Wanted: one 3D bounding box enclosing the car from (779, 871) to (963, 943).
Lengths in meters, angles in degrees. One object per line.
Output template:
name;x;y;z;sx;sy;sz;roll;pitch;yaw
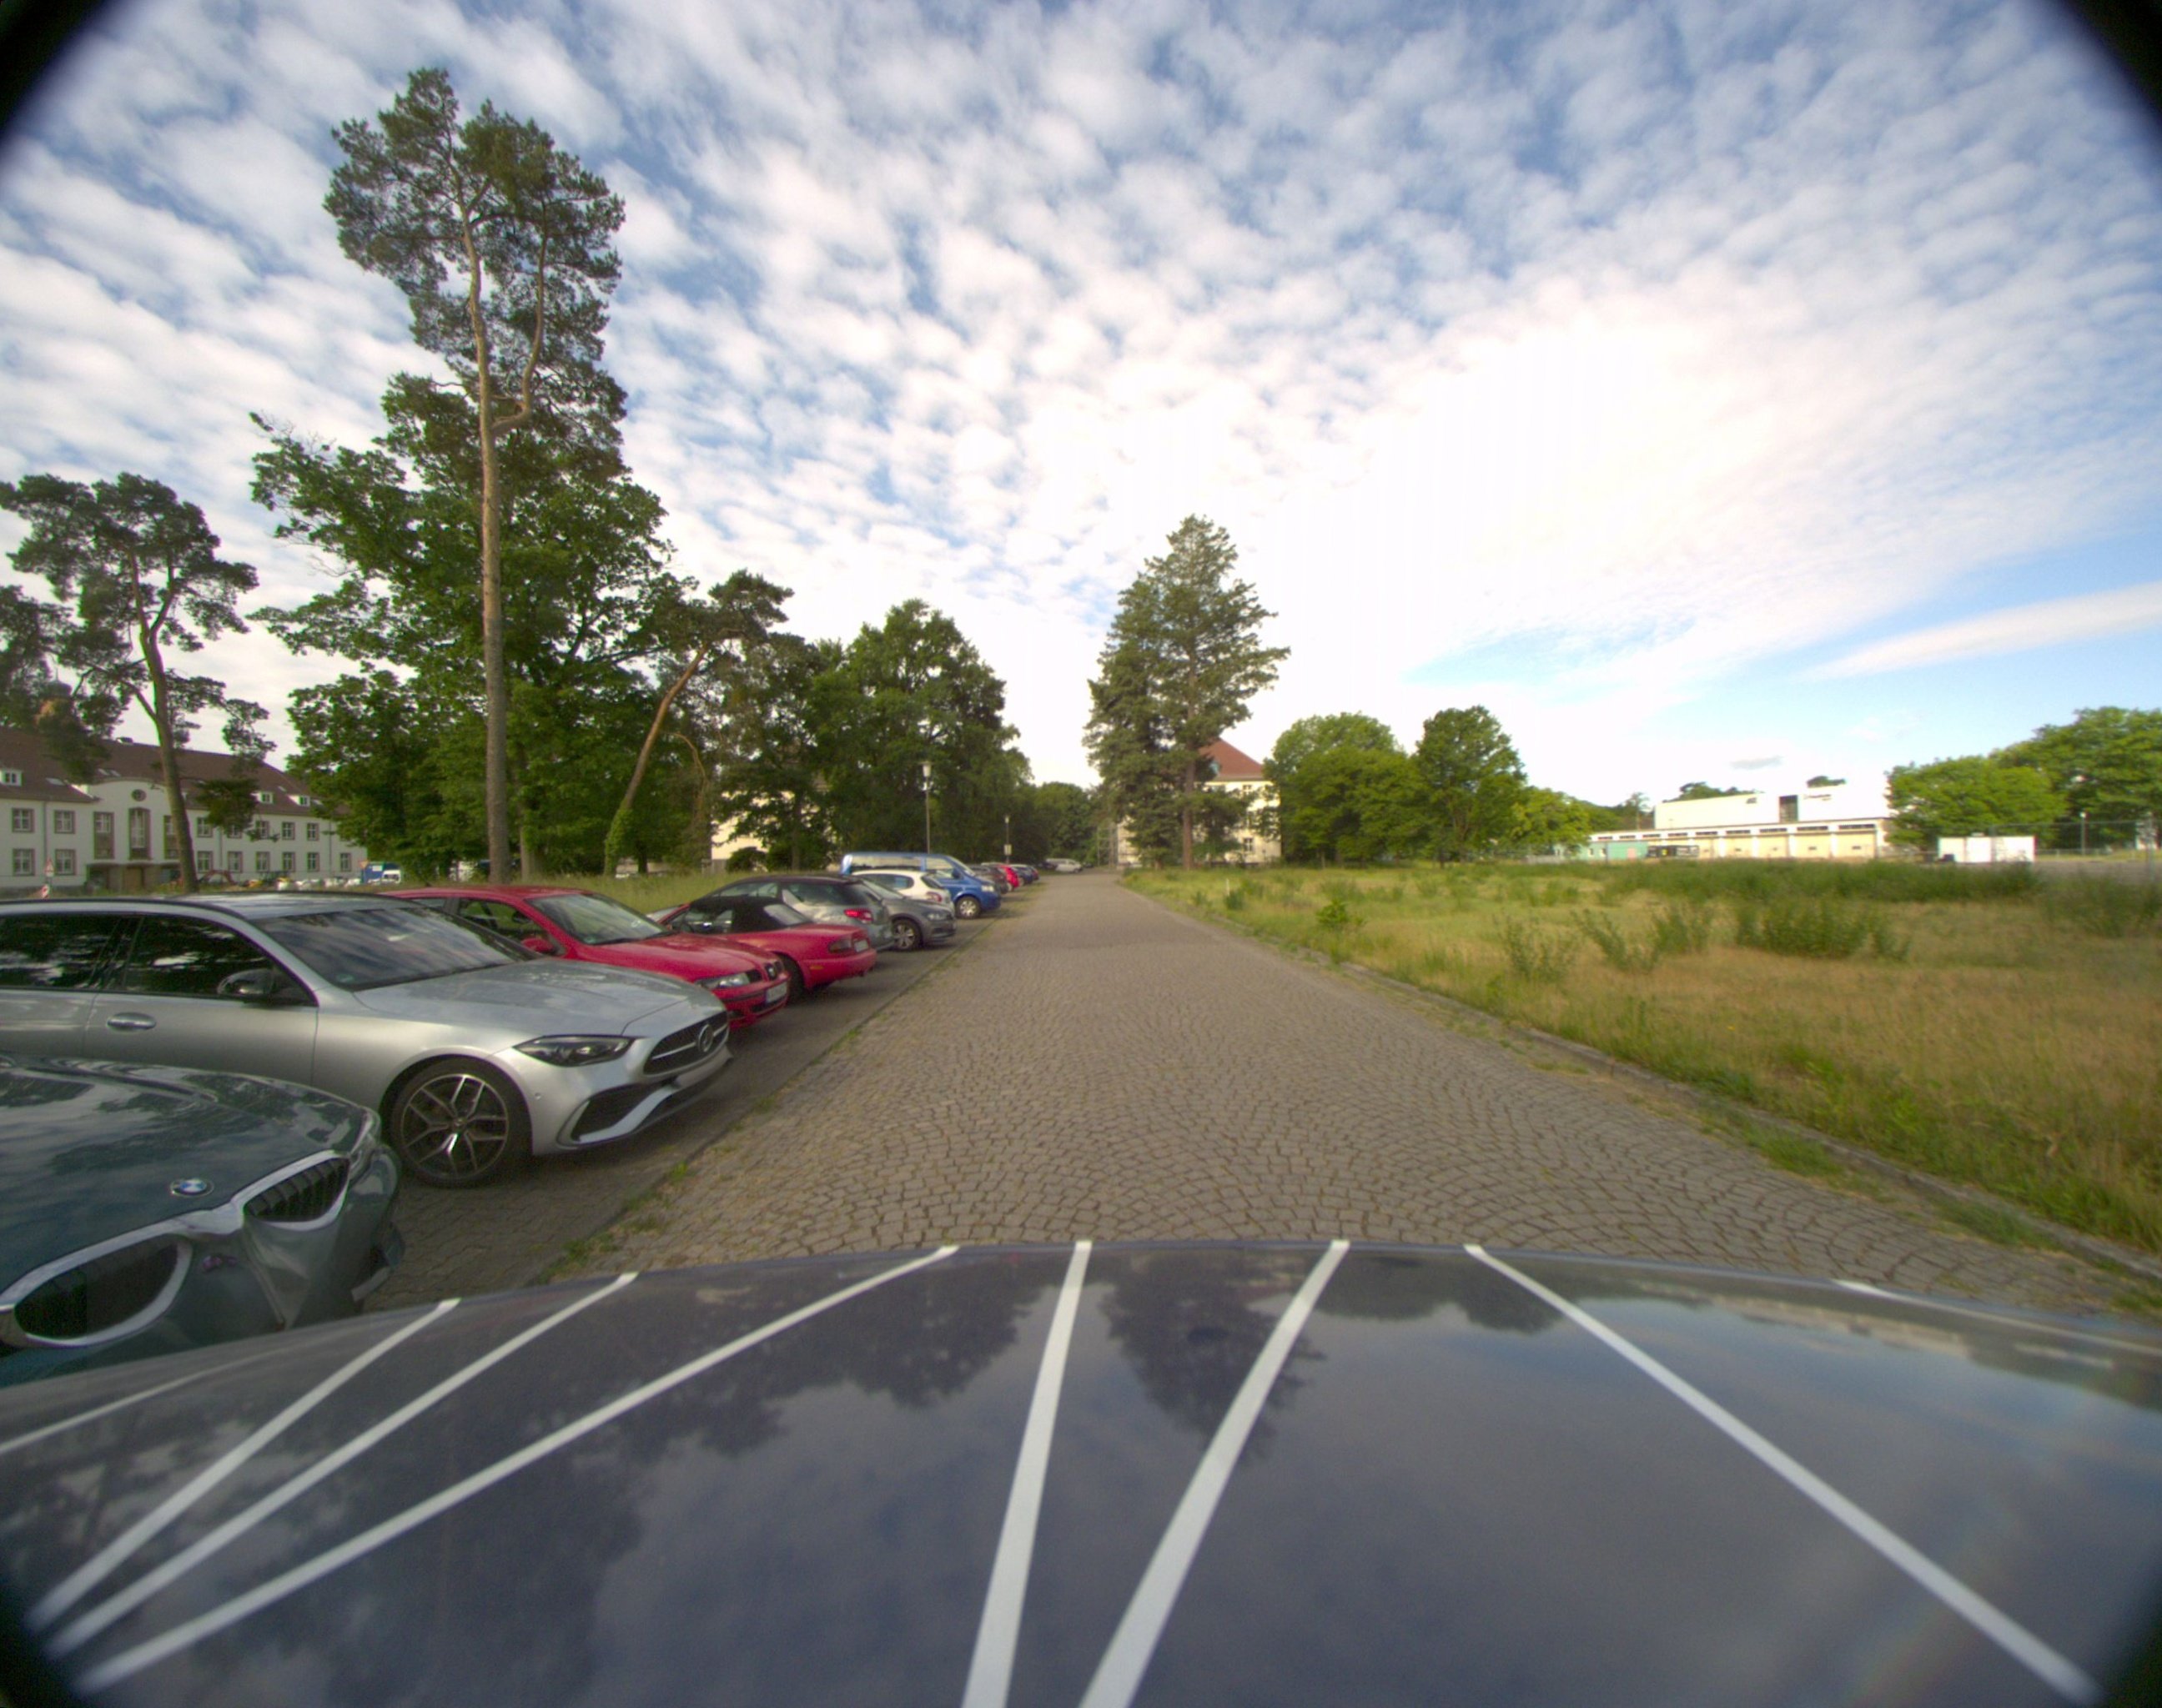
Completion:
car;-4.757;1.198;17.558;3.761;1.490;1.581;-1;0;1

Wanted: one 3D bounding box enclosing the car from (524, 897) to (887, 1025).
car;-4.325;1.216;9.132;3.555;1.279;1.608;-1;-1;0

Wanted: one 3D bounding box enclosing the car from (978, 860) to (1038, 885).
car;-5.015;1.289;52.430;3.836;1.609;1.582;-1;0;4

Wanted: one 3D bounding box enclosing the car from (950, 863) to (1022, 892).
car;-5.198;1.283;41.965;3.839;1.516;1.580;-1;0;-4

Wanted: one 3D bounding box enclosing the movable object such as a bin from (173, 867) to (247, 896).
movable object such as a bin;-91.351;2.836;79.794;1.999;2.751;5.201;-1;0;-5

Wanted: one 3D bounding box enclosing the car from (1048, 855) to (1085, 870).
car;-2.031;1.132;105.915;5.130;2.002;1.804;-1;0;-2

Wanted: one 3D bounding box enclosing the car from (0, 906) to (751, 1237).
car;-4.509;1.095;4.480;4.337;1.420;1.766;0;0;-2

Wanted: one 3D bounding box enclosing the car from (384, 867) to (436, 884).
car;-69.191;2.229;78.429;1.847;1.674;3.937;0;0;2

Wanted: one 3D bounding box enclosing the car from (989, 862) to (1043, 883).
car;-4.854;1.372;57.073;3.836;1.520;1.674;-1;0;4

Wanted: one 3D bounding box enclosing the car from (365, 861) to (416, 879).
car;-82.833;1.922;91.195;2.217;2.002;4.001;-1;0;4

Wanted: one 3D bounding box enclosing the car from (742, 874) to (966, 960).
car;-4.250;1.168;14.631;3.781;1.457;1.643;-1;0;1

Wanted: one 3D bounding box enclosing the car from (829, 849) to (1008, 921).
car;-4.793;0.907;22.983;4.954;2.010;2.060;1;0;0

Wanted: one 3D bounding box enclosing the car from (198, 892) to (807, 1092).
car;-4.853;1.129;6.831;4.118;1.415;1.719;-1;0;0

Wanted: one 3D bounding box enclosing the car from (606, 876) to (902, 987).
car;-4.893;1.138;11.753;3.838;1.494;1.604;-1;0;-1

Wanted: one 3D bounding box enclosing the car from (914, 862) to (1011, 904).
car;-4.857;1.187;31.626;3.839;1.591;1.581;-1;0;-4

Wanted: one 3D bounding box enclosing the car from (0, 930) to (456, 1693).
car;-4.542;1.055;1.778;4.525;1.474;1.807;-1;0;-3
